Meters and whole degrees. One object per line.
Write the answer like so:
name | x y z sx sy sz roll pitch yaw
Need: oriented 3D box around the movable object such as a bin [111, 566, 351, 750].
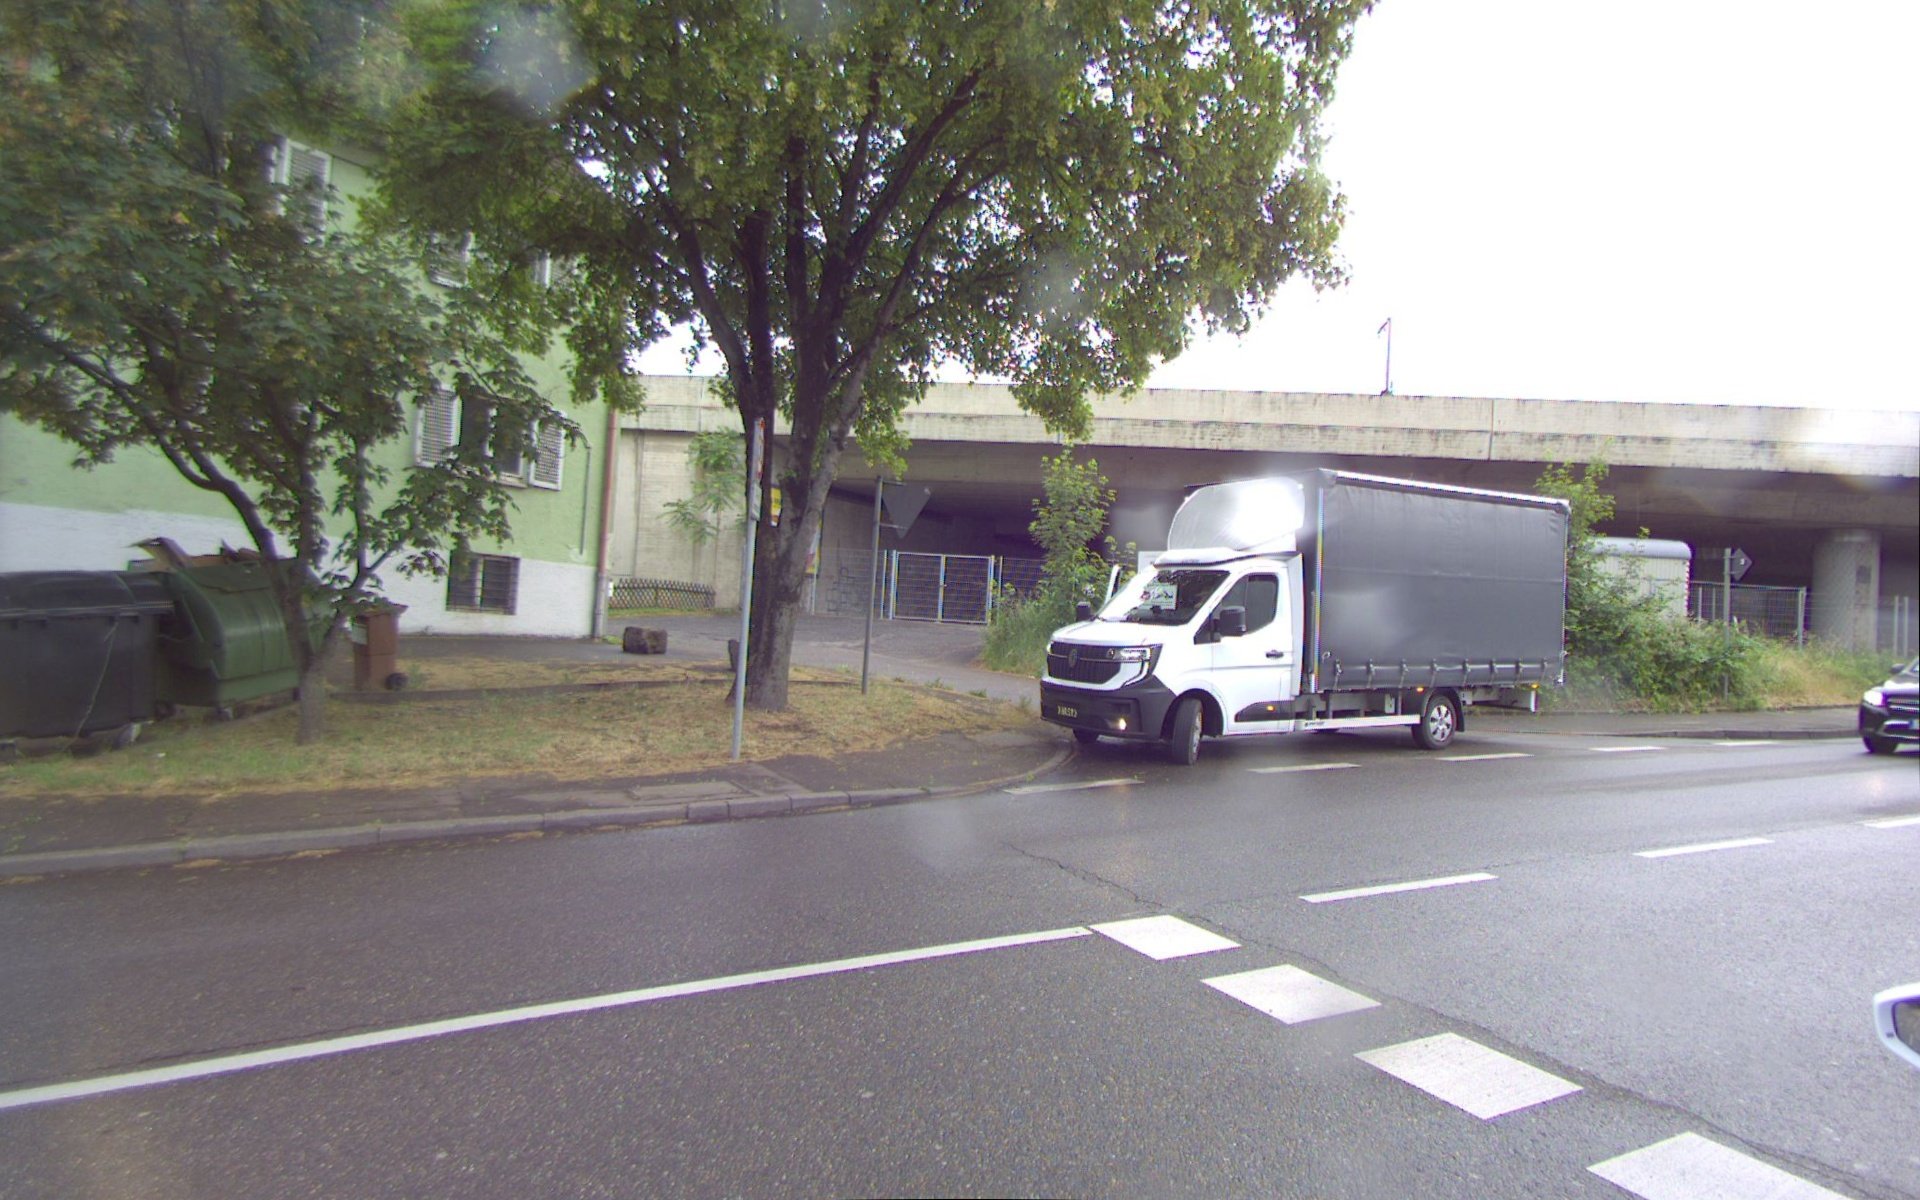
movable object such as a bin | -6.760 0.472 9.416 1.078 1.457 1.463 5 5 13

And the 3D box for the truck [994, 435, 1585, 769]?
truck | 4.430 0.178 12.852 7.681 3.279 2.599 3 -1 -29

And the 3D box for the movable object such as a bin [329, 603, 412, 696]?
movable object such as a bin | -6.385 0.533 10.899 0.715 0.970 0.554 3 -1 -30

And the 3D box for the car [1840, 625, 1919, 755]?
car | 14.255 1.228 13.815 4.381 1.648 1.906 2 -1 -30

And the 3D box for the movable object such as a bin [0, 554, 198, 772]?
movable object such as a bin | -7.328 0.419 8.052 1.268 1.457 1.463 5 5 13
